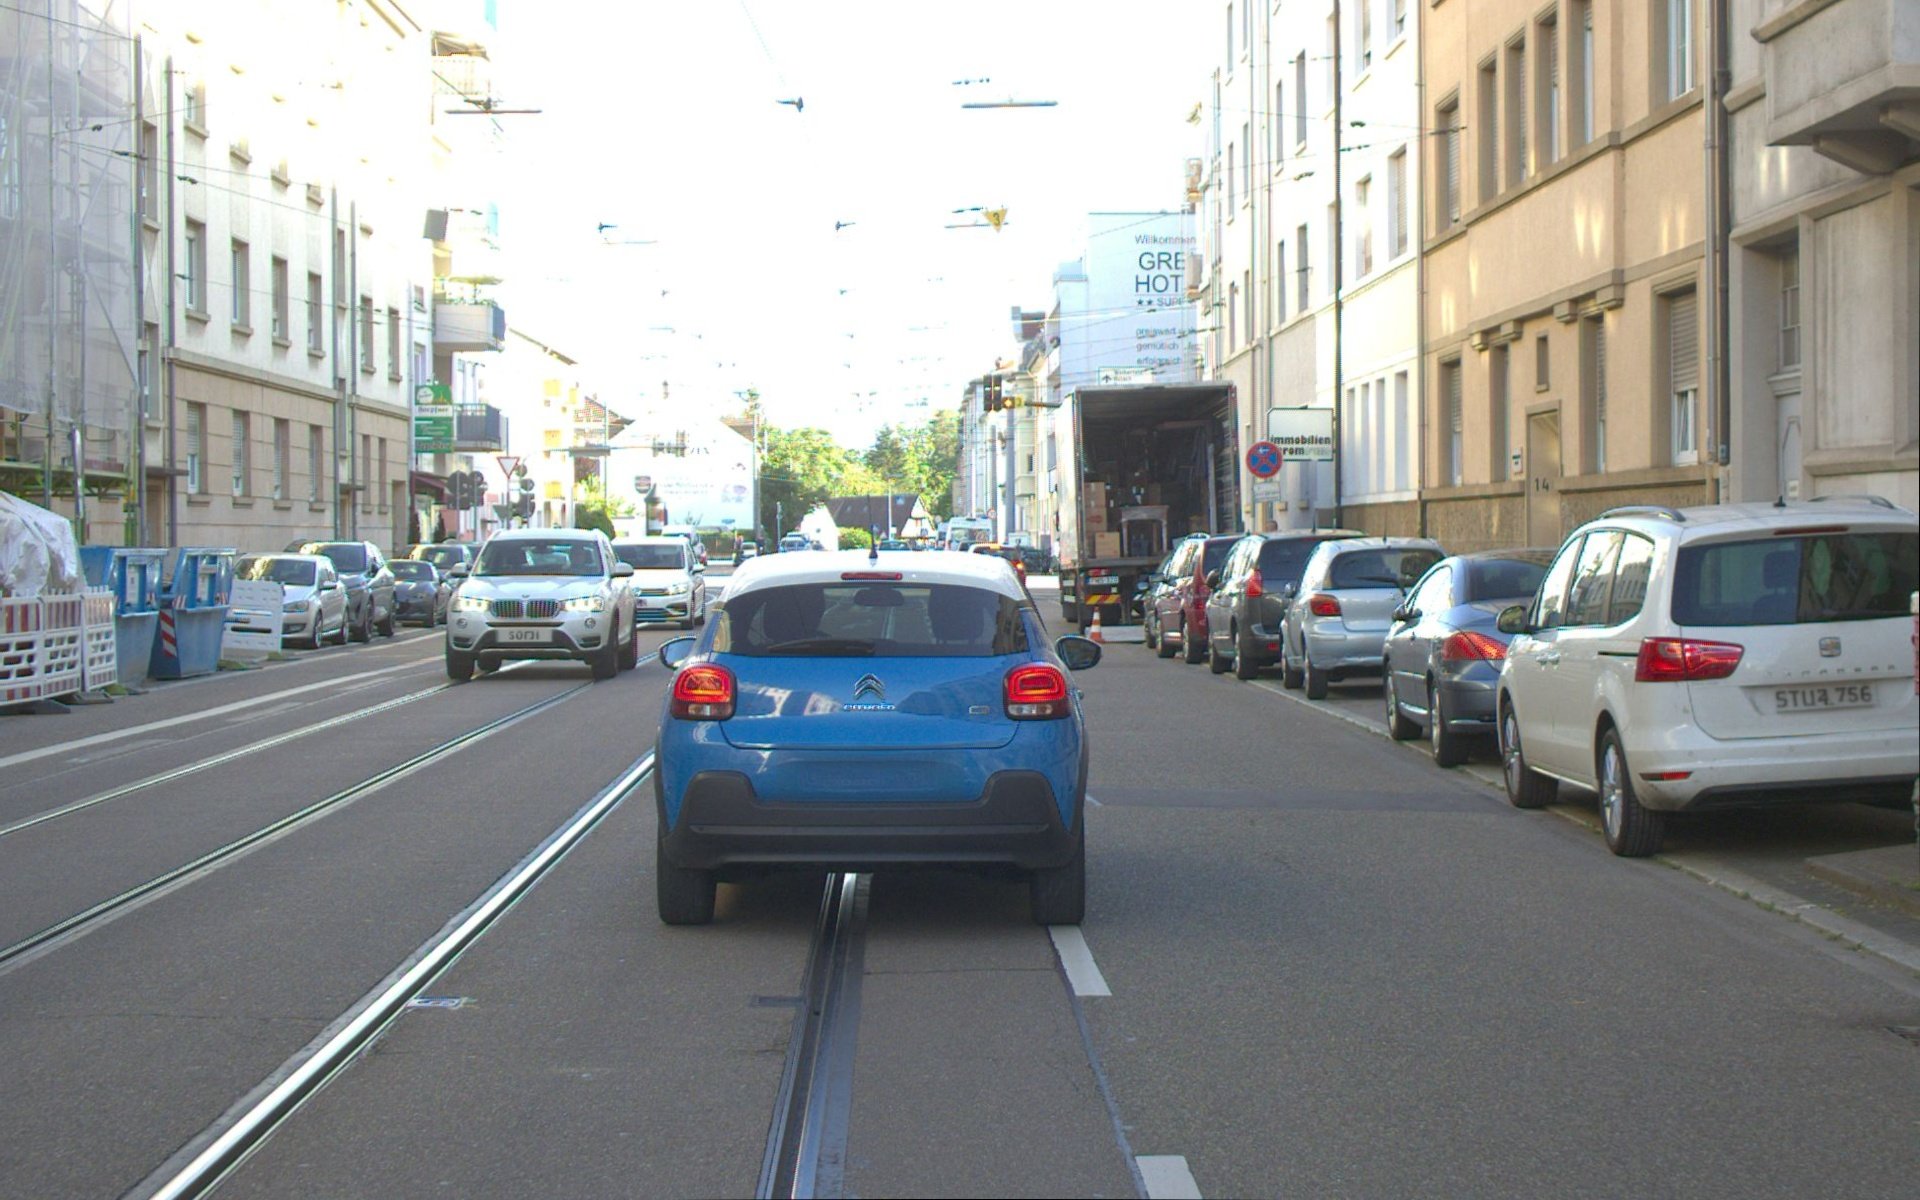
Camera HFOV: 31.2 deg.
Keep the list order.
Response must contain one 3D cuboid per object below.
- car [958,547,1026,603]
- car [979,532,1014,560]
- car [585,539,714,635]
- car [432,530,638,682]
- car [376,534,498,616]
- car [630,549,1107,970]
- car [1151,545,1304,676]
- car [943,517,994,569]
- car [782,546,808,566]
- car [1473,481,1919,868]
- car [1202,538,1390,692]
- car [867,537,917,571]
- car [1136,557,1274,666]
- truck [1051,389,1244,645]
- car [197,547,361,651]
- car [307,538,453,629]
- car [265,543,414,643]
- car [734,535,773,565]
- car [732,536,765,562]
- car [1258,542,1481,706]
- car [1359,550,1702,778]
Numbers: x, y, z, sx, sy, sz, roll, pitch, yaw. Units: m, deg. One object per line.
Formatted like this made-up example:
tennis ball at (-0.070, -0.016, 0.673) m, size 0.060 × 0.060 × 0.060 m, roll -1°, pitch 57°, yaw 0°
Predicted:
car at (0.852, -0.704, 93.614) m, size 1.765 × 1.481 × 4.032 m, roll 0°, pitch 1°, yaw 0°
car at (1.916, -2.849, 181.640) m, size 1.765 × 1.481 × 4.032 m, roll 0°, pitch 1°, yaw 0°
car at (-5.415, -0.260, 60.430) m, size 1.901 × 1.626 × 4.267 m, roll 0°, pitch 1°, yaw 0°
car at (-4.769, 0.032, 39.142) m, size 1.826 × 1.626 × 4.491 m, roll 0°, pitch 1°, yaw 0°
car at (-10.739, -0.534, 70.872) m, size 1.826 × 1.626 × 4.849 m, roll 0°, pitch 1°, yaw 0°
car at (-0.363, 0.570, 14.875) m, size 1.735 × 1.502 × 3.993 m, roll 2°, pitch 1°, yaw -1°
car at (3.444, 0.105, 44.770) m, size 1.664 × 1.627 × 3.871 m, roll 0°, pitch 1°, yaw 0°
car at (0.369, -2.533, 152.840) m, size 2.220 × 2.276 × 4.084 m, roll 0°, pitch 1°, yaw 0°
car at (-12.008, -3.227, 250.747) m, size 1.765 × 1.481 × 4.032 m, roll 0°, pitch 1°, yaw 0°
car at (4.005, 0.313, 18.580) m, size 1.730 × 1.821 × 4.687 m, roll 0°, pitch 1°, yaw 0°
car at (3.731, 0.125, 38.751) m, size 1.664 × 1.641 × 4.222 m, roll 0°, pitch 1°, yaw 0°
car at (-3.046, -2.078, 155.070) m, size 2.180 × 1.481 × 4.160 m, roll 0°, pitch 1°, yaw 0°
car at (3.468, 0.133, 49.251) m, size 1.664 × 1.481 × 4.032 m, roll 0°, pitch 1°, yaw 0°
truck at (3.135, -1.418, 60.451) m, size 2.853 × 4.069 × 11.271 m, roll 0°, pitch 1°, yaw 0°
car at (-10.289, -0.048, 52.181) m, size 1.714 × 1.512 × 4.048 m, roll 0°, pitch 1°, yaw 0°
car at (-10.948, -0.339, 65.099) m, size 2.144 × 1.616 × 4.000 m, roll -1°, pitch 1°, yaw -1°
car at (-10.217, -0.140, 56.879) m, size 1.714 × 1.588 × 4.267 m, roll 0°, pitch 1°, yaw 0°
car at (-10.588, -2.569, 176.238) m, size 1.765 × 1.481 × 4.032 m, roll 0°, pitch 1°, yaw 0°
car at (-12.464, -3.021, 202.861) m, size 1.765 × 1.481 × 4.032 m, roll 0°, pitch 1°, yaw 0°
car at (3.970, 0.186, 33.908) m, size 1.664 × 1.514 × 4.222 m, roll 0°, pitch 1°, yaw 0°
car at (3.985, 0.386, 24.633) m, size 1.722 × 1.481 × 4.222 m, roll 0°, pitch 1°, yaw 0°
